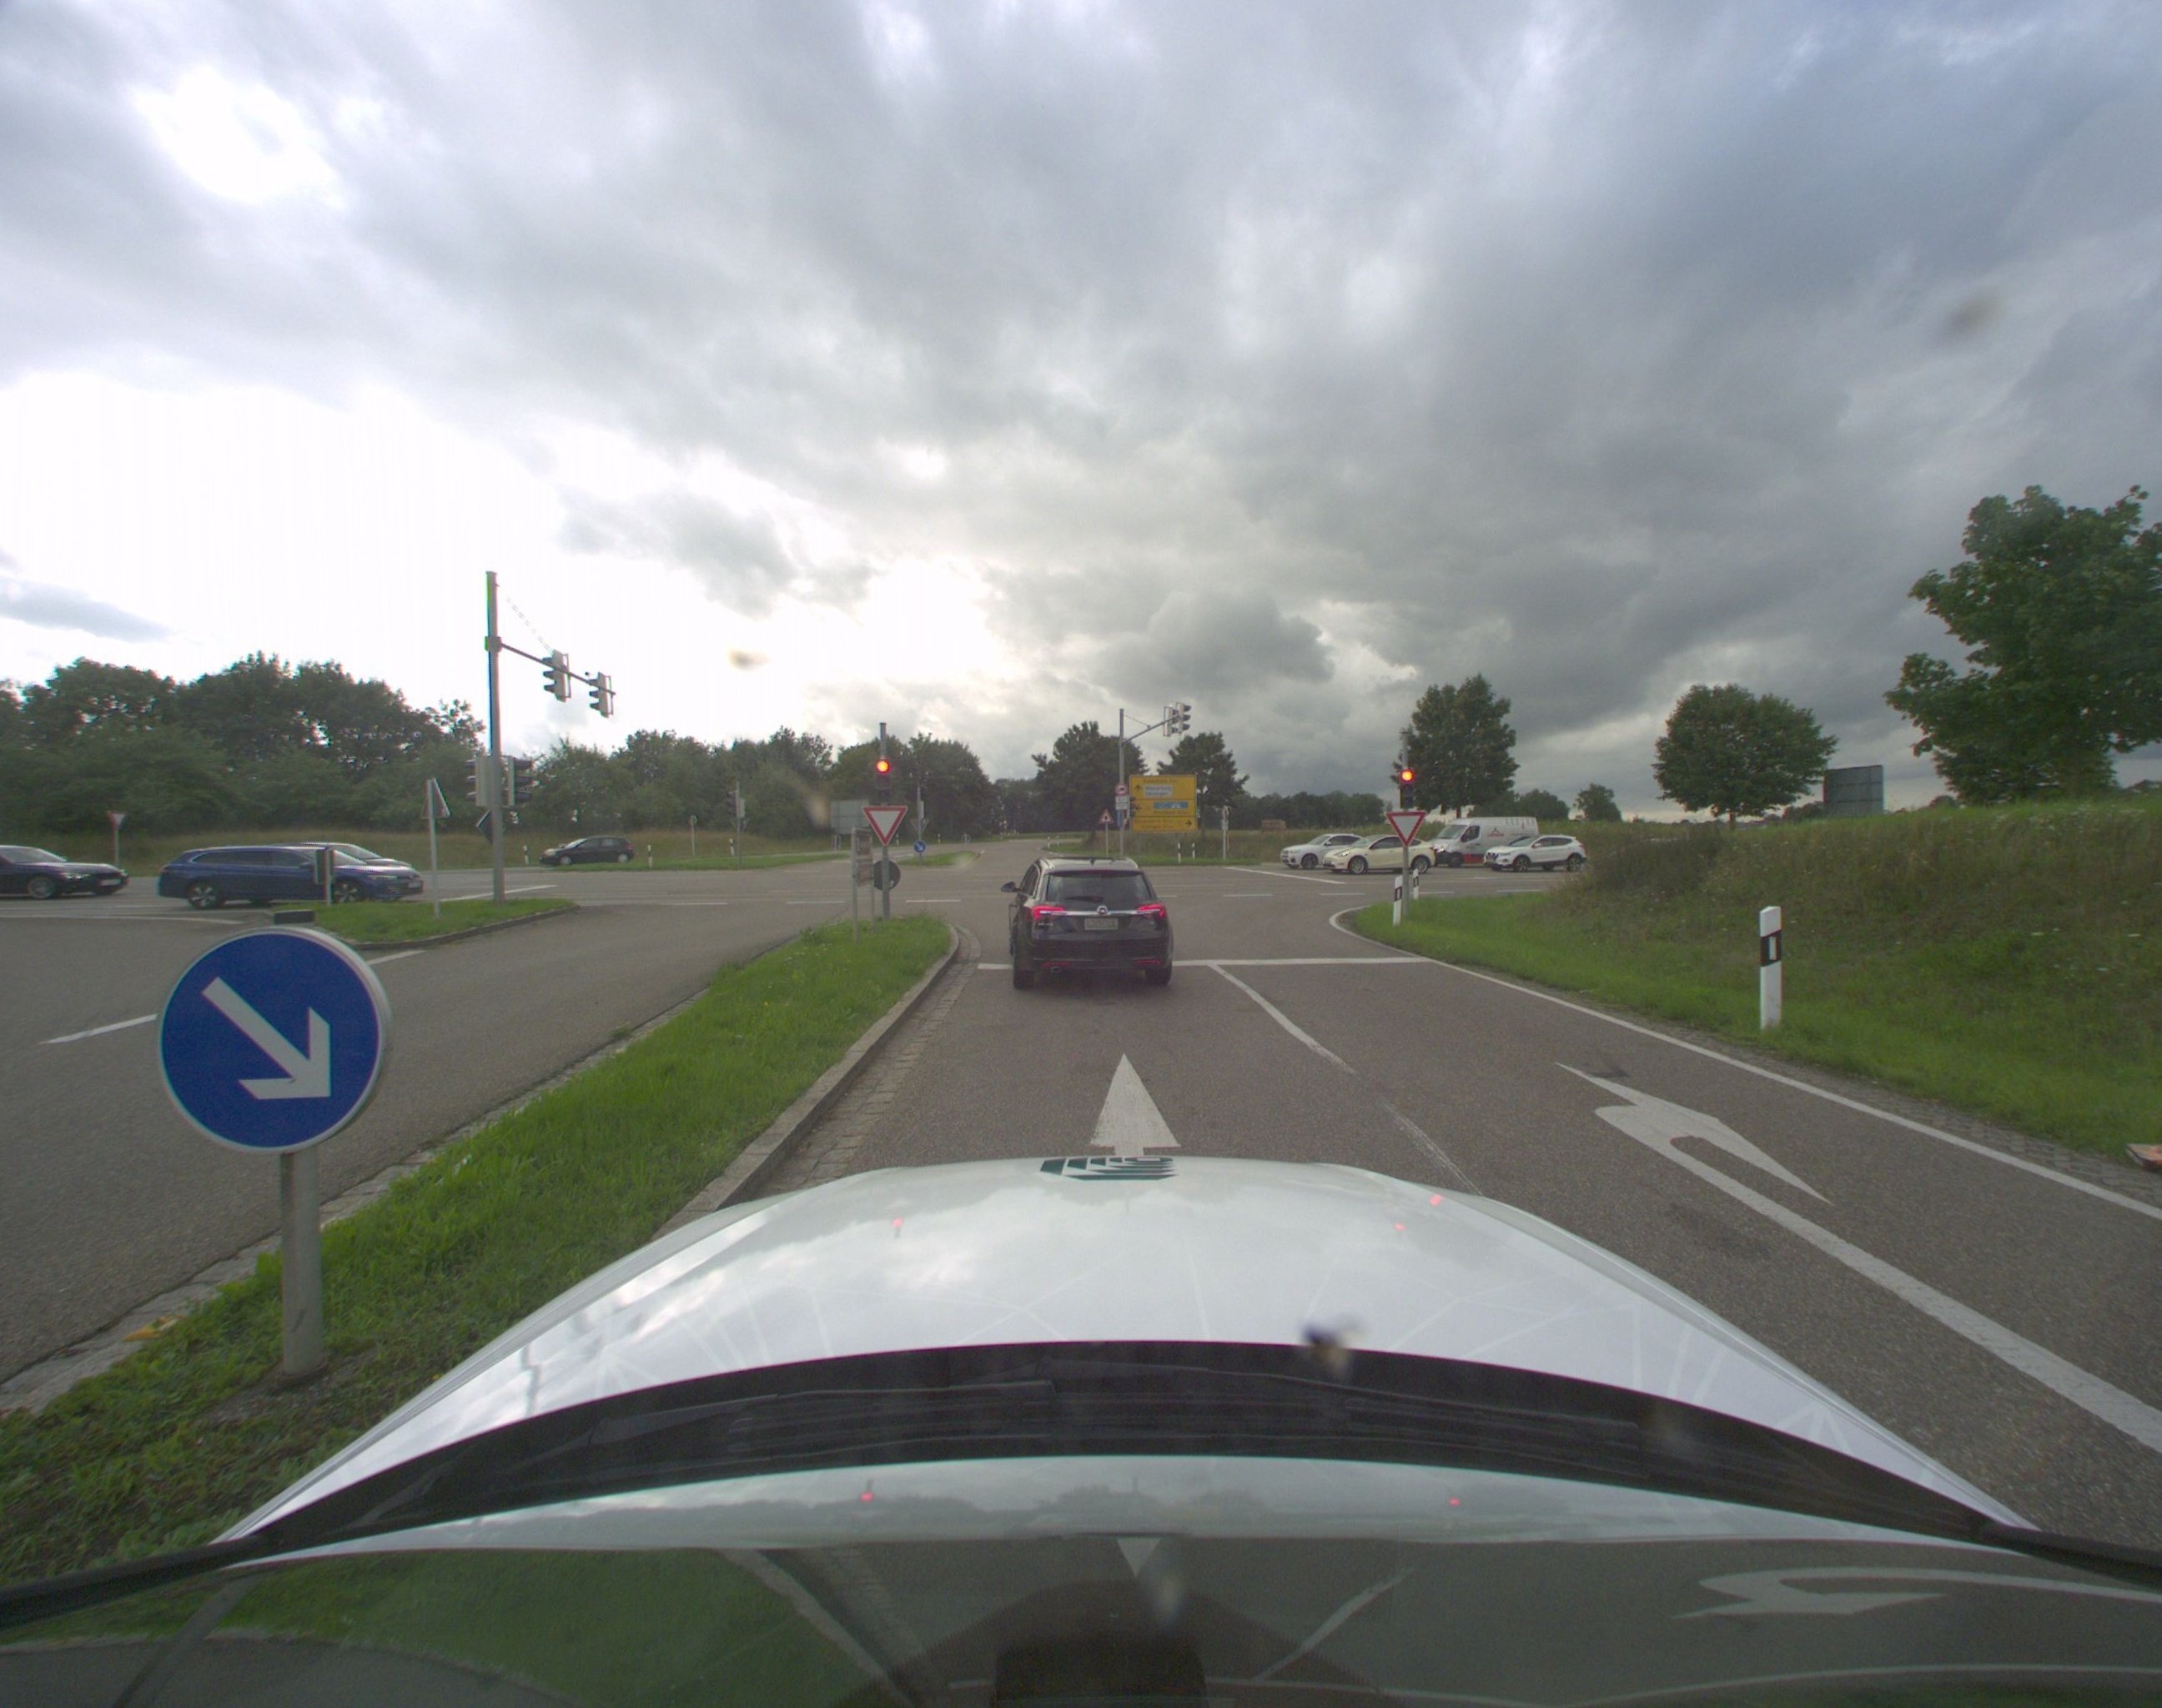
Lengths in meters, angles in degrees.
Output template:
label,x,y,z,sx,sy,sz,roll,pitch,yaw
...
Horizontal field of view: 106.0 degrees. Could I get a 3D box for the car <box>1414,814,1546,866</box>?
label,x,y,z,sx,sy,sz,roll,pitch,yaw
car,19.501,-0.690,39.956,5.494,2.441,2.390,0,0,-10

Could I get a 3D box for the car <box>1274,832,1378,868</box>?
label,x,y,z,sx,sy,sz,roll,pitch,yaw
car,11.414,-0.206,38.062,4.262,1.629,1.993,-1,0,-11

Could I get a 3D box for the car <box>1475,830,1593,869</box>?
label,x,y,z,sx,sy,sz,roll,pitch,yaw
car,19.936,-0.216,35.926,4.309,1.629,1.993,-1,0,-10

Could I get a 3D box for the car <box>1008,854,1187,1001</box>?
label,x,y,z,sx,sy,sz,roll,pitch,yaw
car,-0.011,0.747,10.488,1.805,1.450,4.264,0,0,-6

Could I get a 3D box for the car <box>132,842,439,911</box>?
label,x,y,z,sx,sy,sz,roll,pitch,yaw
car,-19.553,0.505,20.330,5.115,1.534,2.043,-1,2,-13

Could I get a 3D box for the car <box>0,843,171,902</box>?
label,x,y,z,sx,sy,sz,roll,pitch,yaw
car,-28.741,0.472,22.225,4.869,1.483,2.047,0,3,-12

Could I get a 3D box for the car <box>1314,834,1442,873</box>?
label,x,y,z,sx,sy,sz,roll,pitch,yaw
car,12.455,-0.047,34.282,4.734,1.564,1.993,-1,0,-11
